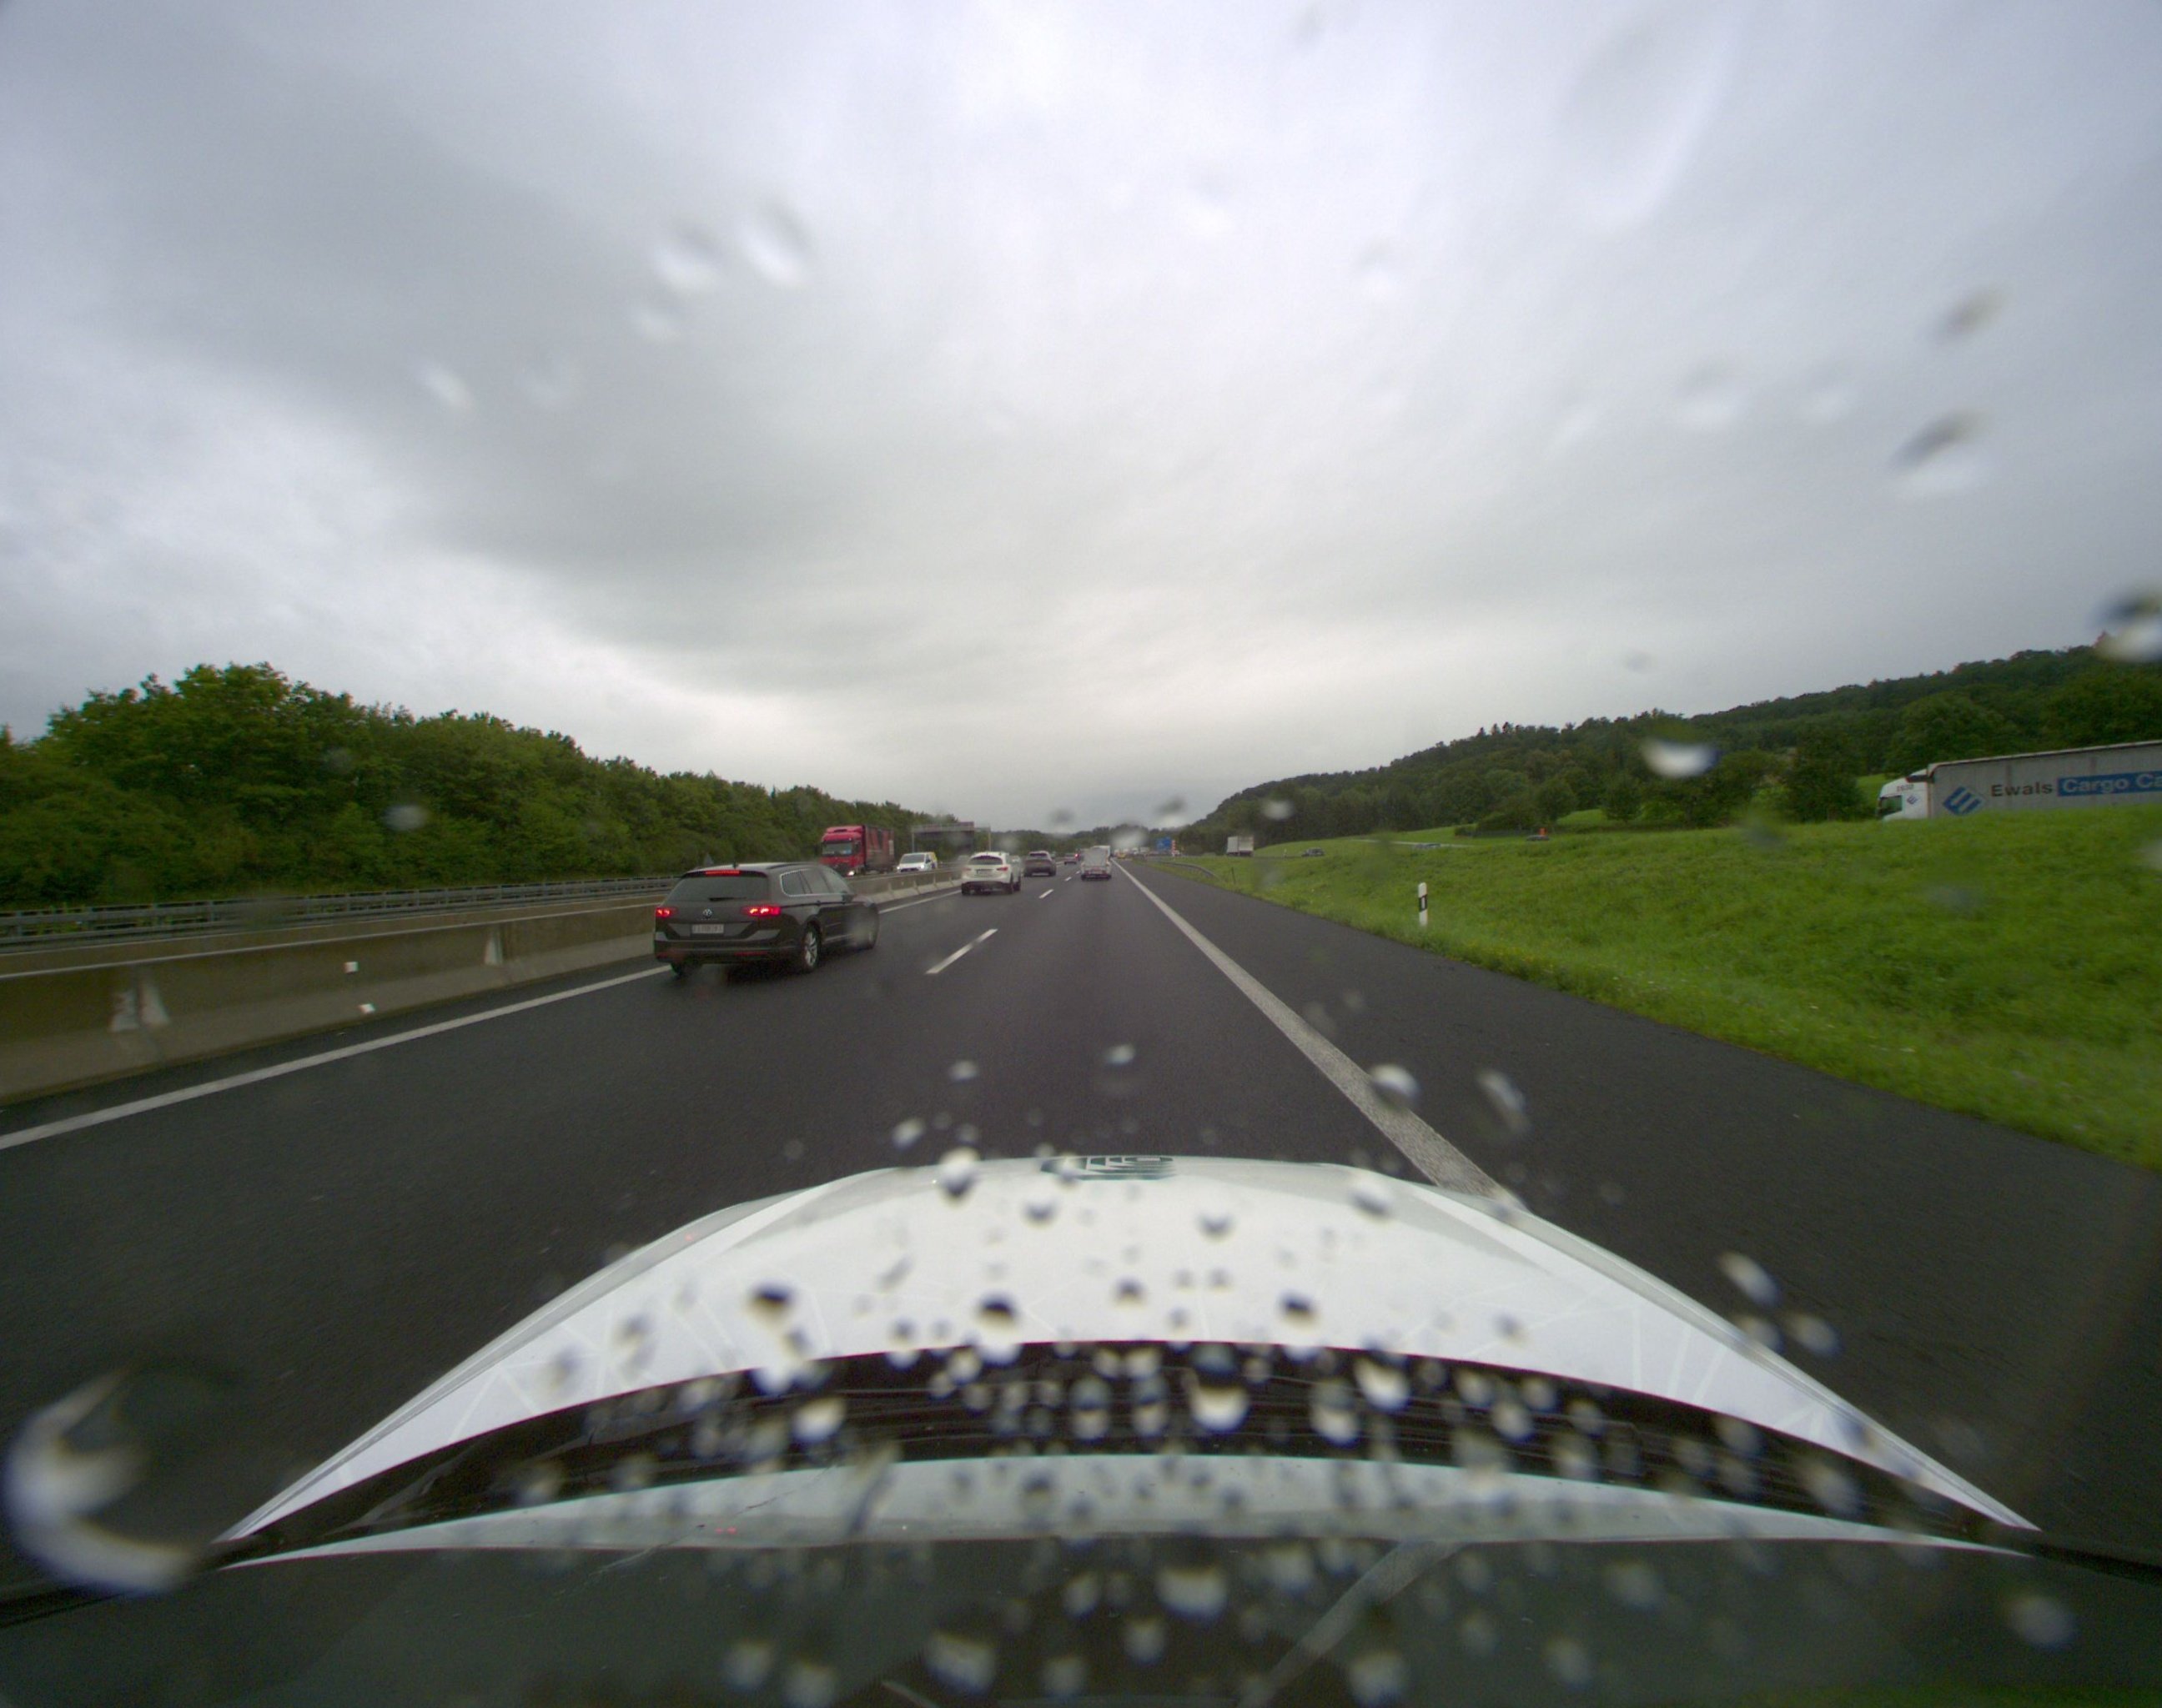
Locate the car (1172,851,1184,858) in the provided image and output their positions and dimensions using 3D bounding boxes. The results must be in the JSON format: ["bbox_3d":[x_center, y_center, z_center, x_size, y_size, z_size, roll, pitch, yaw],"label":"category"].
[{"bbox_3d":[21.231,0.072,178.368,1.988,1.552,3.997,0,0,-2],"label":"car"}]

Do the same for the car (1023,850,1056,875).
[{"bbox_3d":[-2.874,0.587,57.199,1.968,1.703,4.803,-1,0,1],"label":"car"}]

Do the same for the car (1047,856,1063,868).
[{"bbox_3d":[-3.571,1.103,112.713,1.812,1.662,4.019,-2,0,2],"label":"car"}]

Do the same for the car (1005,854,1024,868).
[{"bbox_3d":[-9.209,0.948,113.254,2.148,1.765,4.961,-1,0,1],"label":"car"}]

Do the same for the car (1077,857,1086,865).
[{"bbox_3d":[0.031,1.328,163.869,1.639,1.574,4.002,0,0,2],"label":"car"}]

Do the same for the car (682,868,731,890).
[{"bbox_3d":[-26.658,1.734,58.045,1.517,1.398,4.002,-1,0,2],"label":"car"}]

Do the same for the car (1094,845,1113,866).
[{"bbox_3d":[3.106,0.211,112.974,2.324,2.725,6.537,-1,0,-1],"label":"car"}]

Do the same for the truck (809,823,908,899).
[{"bbox_3d":[-14.951,0.425,55.872,3.386,4.733,10.492,-1,0,3],"label":"truck"}]

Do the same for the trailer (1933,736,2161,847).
[{"bbox_3d":[36.192,-2.047,28.799,2.933,3.527,8.404,0,0,-5],"label":"trailer"}]

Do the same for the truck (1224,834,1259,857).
[{"bbox_3d":[25.981,-1.364,132.563,3.815,3.659,8.265,0,0,-2],"label":"truck"}]

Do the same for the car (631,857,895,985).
[{"bbox_3d":[-4.293,0.805,11.972,1.780,1.459,4.805,-1,0,3],"label":"car"}]

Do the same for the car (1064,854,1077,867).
[{"bbox_3d":[-1.540,0.951,120.839,1.732,1.794,4.001,-1,0,1],"label":"car"}]

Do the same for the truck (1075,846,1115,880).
[{"bbox_3d":[0.835,0.476,48.452,2.234,1.839,6.585,-1,0,1],"label":"truck"}]

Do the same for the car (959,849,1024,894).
[{"bbox_3d":[-3.508,0.645,32.746,2.041,1.670,4.541,-1,0,1],"label":"car"}]

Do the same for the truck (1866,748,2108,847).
[{"bbox_3d":[35.881,-2.064,32.626,2.933,3.527,5.917,0,0,-5],"label":"truck"}]

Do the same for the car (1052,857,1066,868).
[{"bbox_3d":[-3.344,1.314,126.031,1.812,1.662,4.019,-2,0,2],"label":"car"}]

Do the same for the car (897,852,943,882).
[{"bbox_3d":[-11.102,0.849,56.429,1.987,1.863,5.222,-3,0,1],"label":"car"}]

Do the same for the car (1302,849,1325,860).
[{"bbox_3d":[28.839,0.035,101.031,1.694,1.288,3.529,0,0,-4],"label":"car"}]

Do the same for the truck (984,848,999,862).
[{"bbox_3d":[-25.309,0.306,230.524,2.676,3.661,9.559,-2,0,1],"label":"truck"}]

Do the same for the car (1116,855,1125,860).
[{"bbox_3d":[10.739,0.936,220.600,1.989,1.552,3.995,0,0,-3],"label":"car"}]

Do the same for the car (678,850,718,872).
[{"bbox_3d":[-36.498,0.651,77.664,1.742,2.013,4.003,-2,0,3],"label":"car"}]
